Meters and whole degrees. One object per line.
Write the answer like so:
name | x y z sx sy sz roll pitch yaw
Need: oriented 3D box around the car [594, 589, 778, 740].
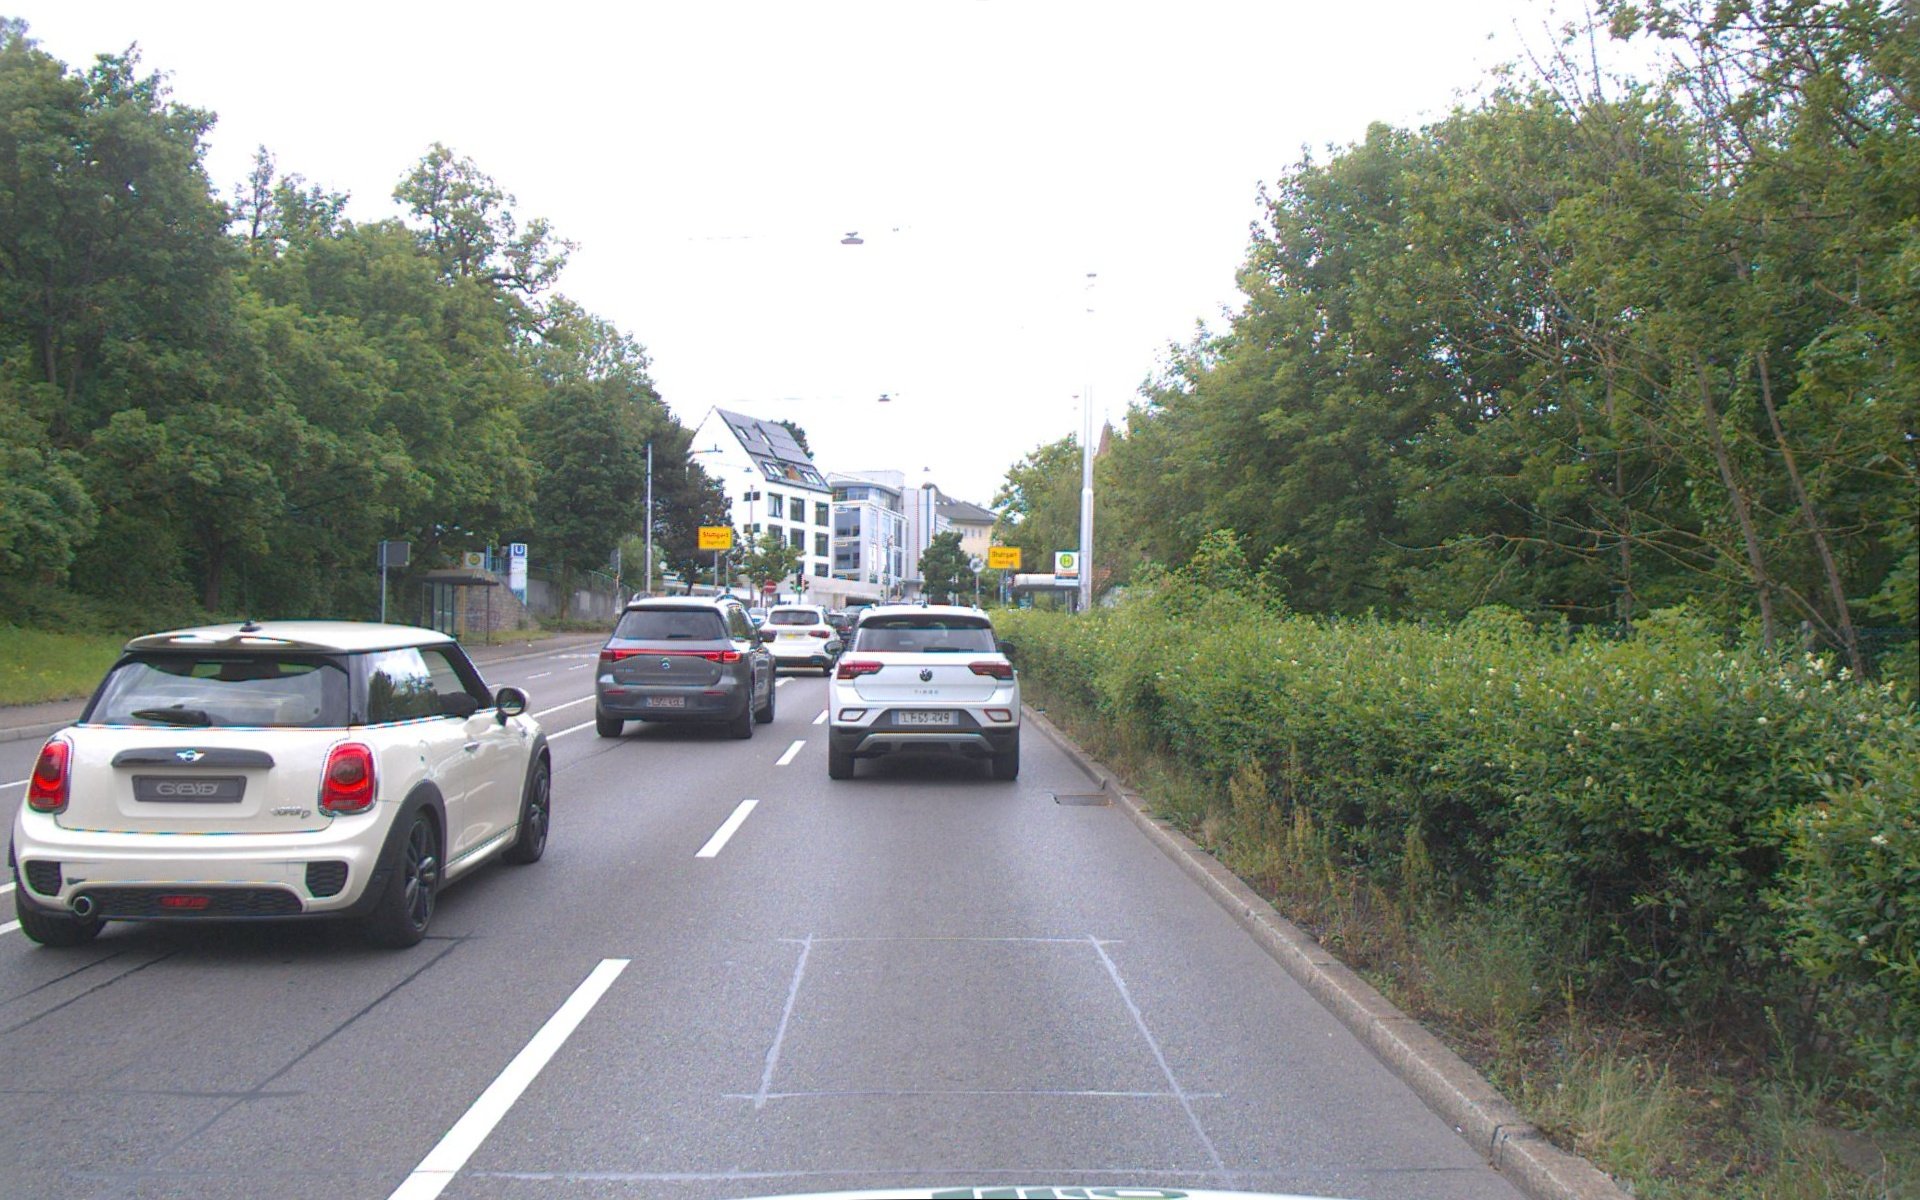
car | -3.333 0.740 20.897 1.776 1.681 4.633 0 -1 -3

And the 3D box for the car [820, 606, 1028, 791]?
car | -0.399 0.859 16.046 1.775 1.566 3.687 0 -1 -3

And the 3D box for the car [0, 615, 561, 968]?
car | -3.204 0.793 8.551 1.595 1.418 3.563 0 -1 -3

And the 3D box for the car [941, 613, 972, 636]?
car | -0.226 1.634 110.885 1.819 1.527 4.057 0 -1 3

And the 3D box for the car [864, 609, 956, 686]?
car | -1.088 0.964 34.906 1.821 1.527 4.053 0 -1 -3

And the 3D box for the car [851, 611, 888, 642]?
car | -4.625 1.316 84.483 1.821 1.527 4.053 0 -1 -3

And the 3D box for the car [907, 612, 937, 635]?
car | -2.605 1.599 113.986 1.819 1.527 4.056 0 -1 2

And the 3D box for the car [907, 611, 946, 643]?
car | -1.697 1.323 82.502 1.821 1.527 4.053 0 -1 -3

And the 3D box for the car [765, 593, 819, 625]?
car | -14.208 0.793 140.371 2.184 2.613 7.427 0 -1 14

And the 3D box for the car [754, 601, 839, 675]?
car | -3.891 0.889 39.961 1.821 1.681 4.633 0 -1 -3

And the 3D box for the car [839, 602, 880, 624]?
car | -9.282 1.213 153.045 1.941 2.001 5.219 0 -1 19

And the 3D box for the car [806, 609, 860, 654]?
car | -4.492 1.112 58.868 1.821 1.527 4.053 0 -1 -3
